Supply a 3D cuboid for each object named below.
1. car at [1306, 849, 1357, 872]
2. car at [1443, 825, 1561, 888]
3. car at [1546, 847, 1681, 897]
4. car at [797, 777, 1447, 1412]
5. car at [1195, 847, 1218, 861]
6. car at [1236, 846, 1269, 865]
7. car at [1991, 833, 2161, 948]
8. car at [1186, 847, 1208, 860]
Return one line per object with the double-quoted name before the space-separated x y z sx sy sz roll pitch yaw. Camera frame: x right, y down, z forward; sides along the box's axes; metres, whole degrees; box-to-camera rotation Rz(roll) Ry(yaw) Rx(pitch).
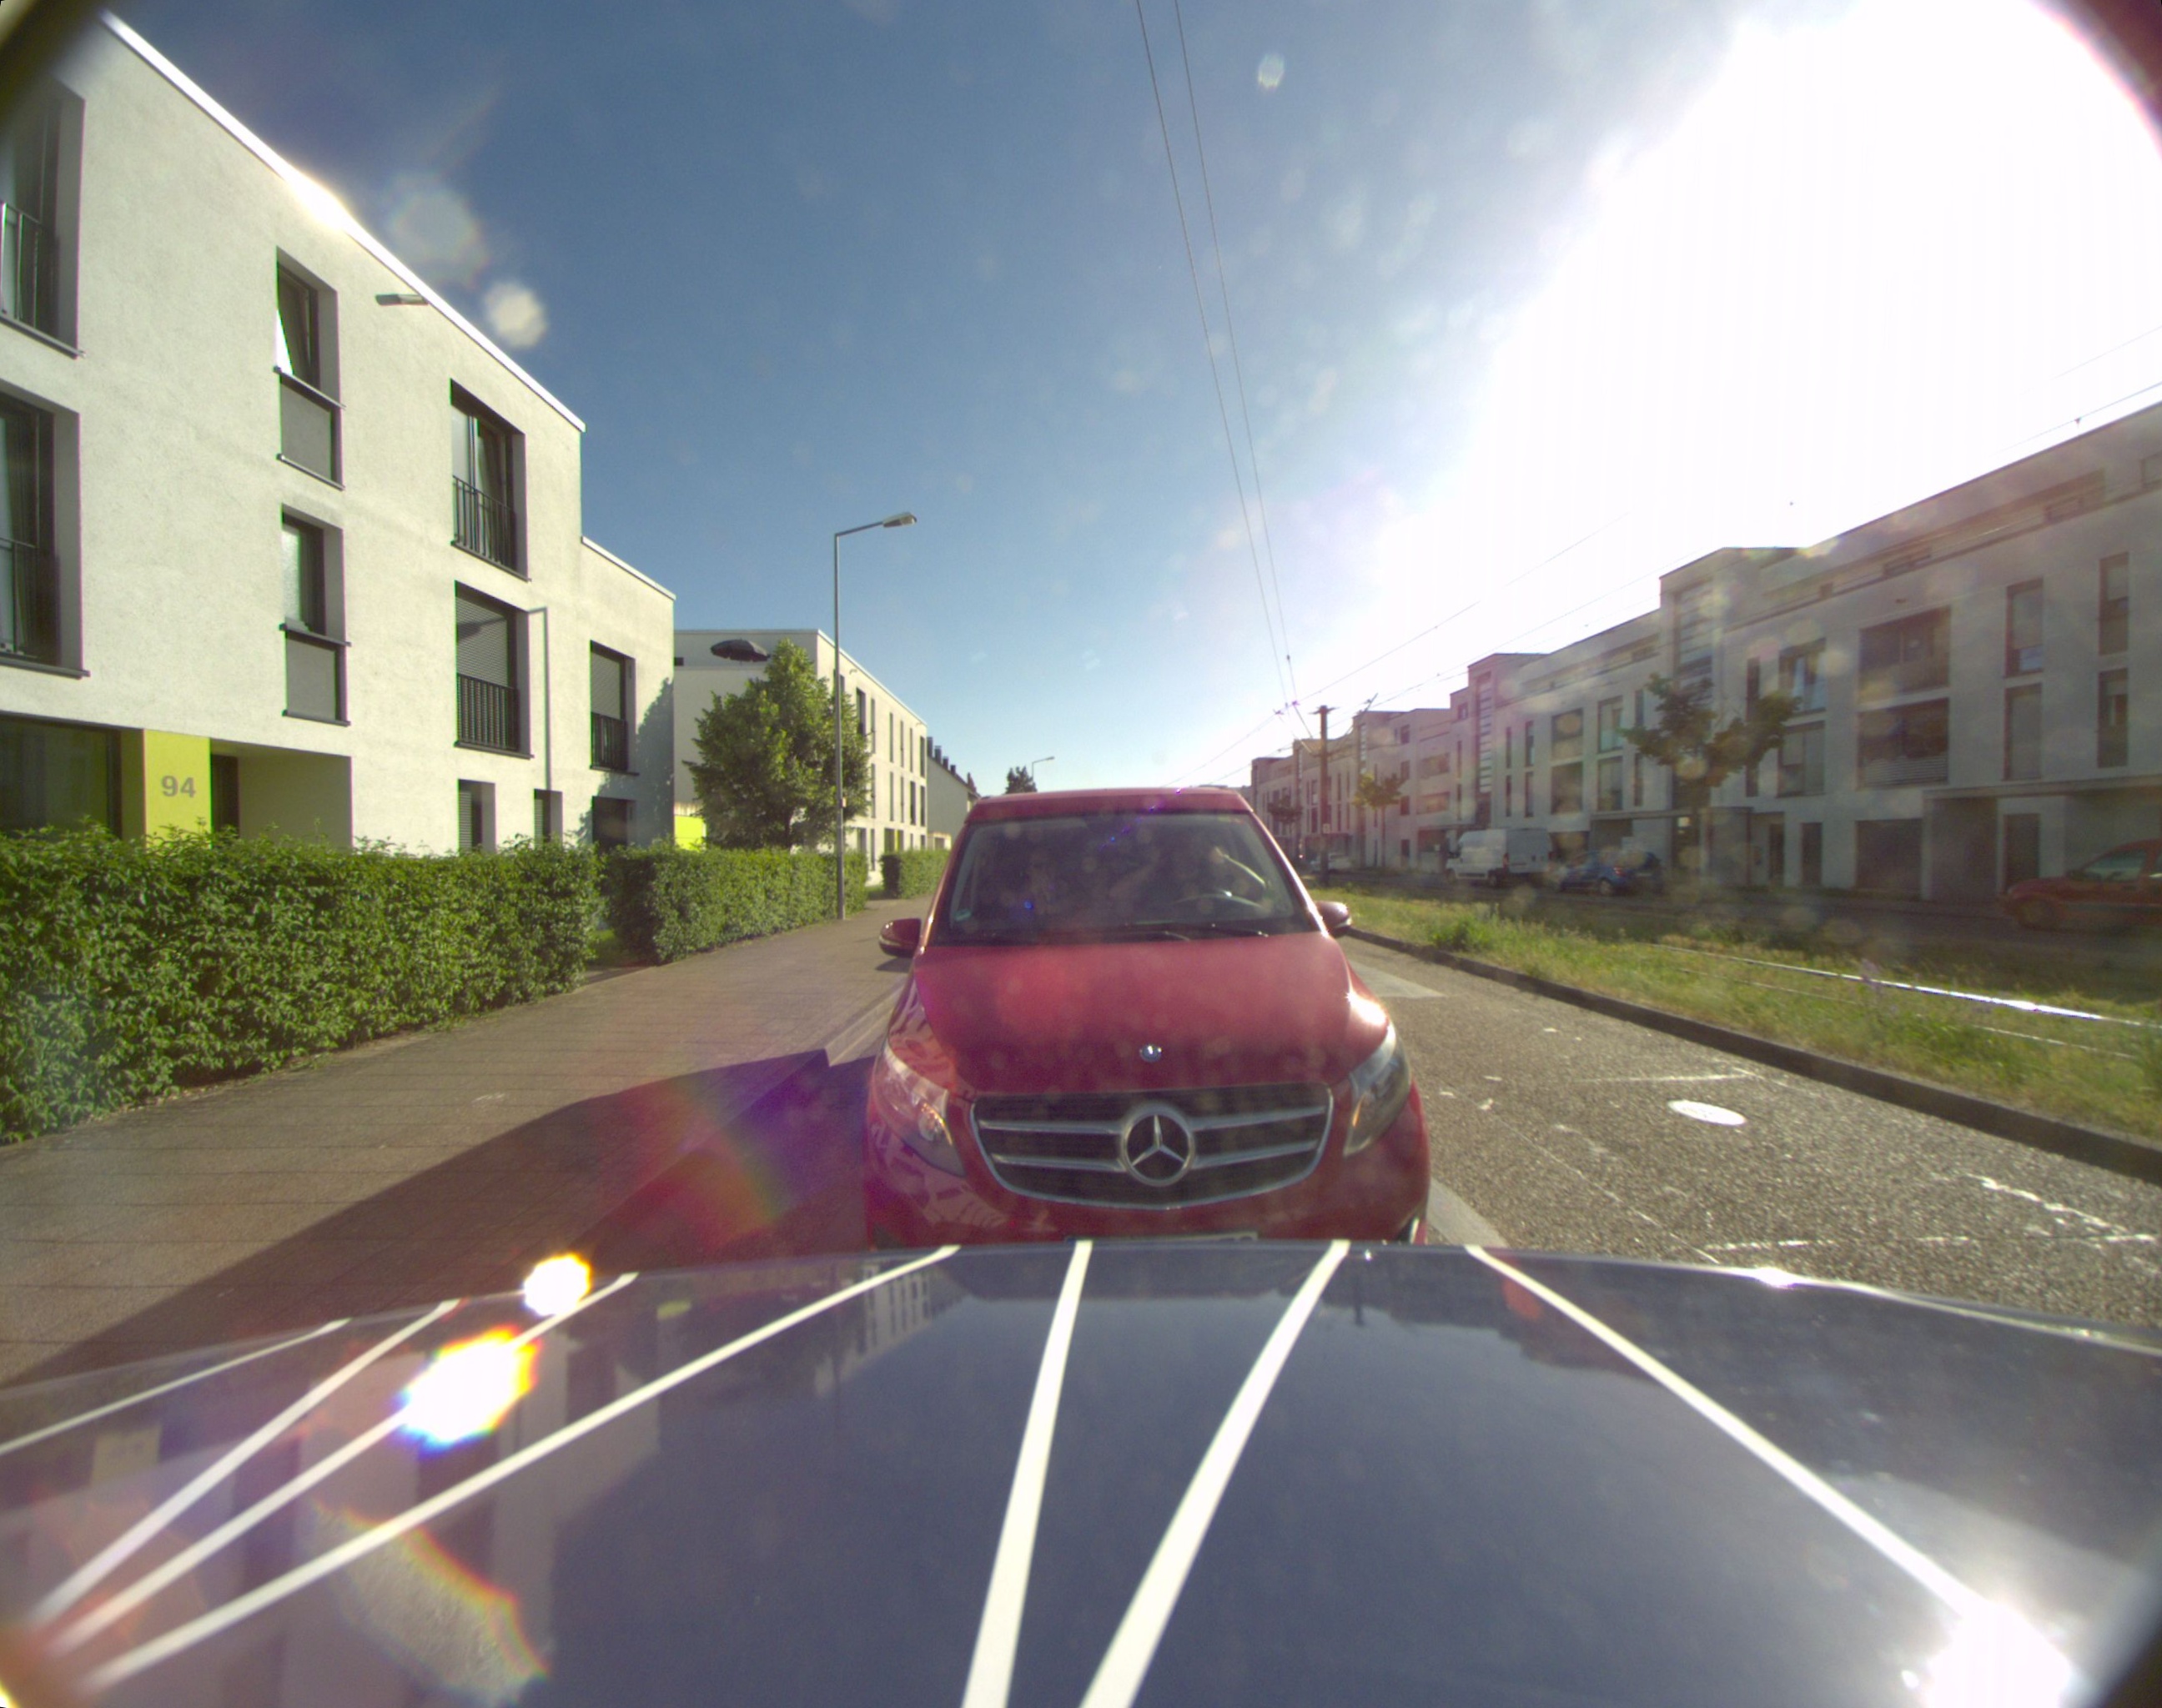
"car" 17.637 0.415 53.721 1.923 1.497 4.282 -2 1 -4
"car" 18.173 0.074 33.152 2.225 2.458 5.195 -2 1 0
"car" 18.380 0.576 26.481 1.999 1.536 3.835 -2 1 0
"car" 0.156 0.704 4.523 1.874 1.843 4.506 -2 1 1
"car" 15.477 -0.037 93.888 1.923 1.671 4.282 -2 1 -4
"car" 16.722 0.133 74.336 1.923 1.671 4.282 -2 1 -4
"car" 18.621 0.578 12.790 1.998 1.817 3.895 -2 1 3
"car" 15.190 -0.059 99.639 1.923 1.671 4.282 -2 1 -4
